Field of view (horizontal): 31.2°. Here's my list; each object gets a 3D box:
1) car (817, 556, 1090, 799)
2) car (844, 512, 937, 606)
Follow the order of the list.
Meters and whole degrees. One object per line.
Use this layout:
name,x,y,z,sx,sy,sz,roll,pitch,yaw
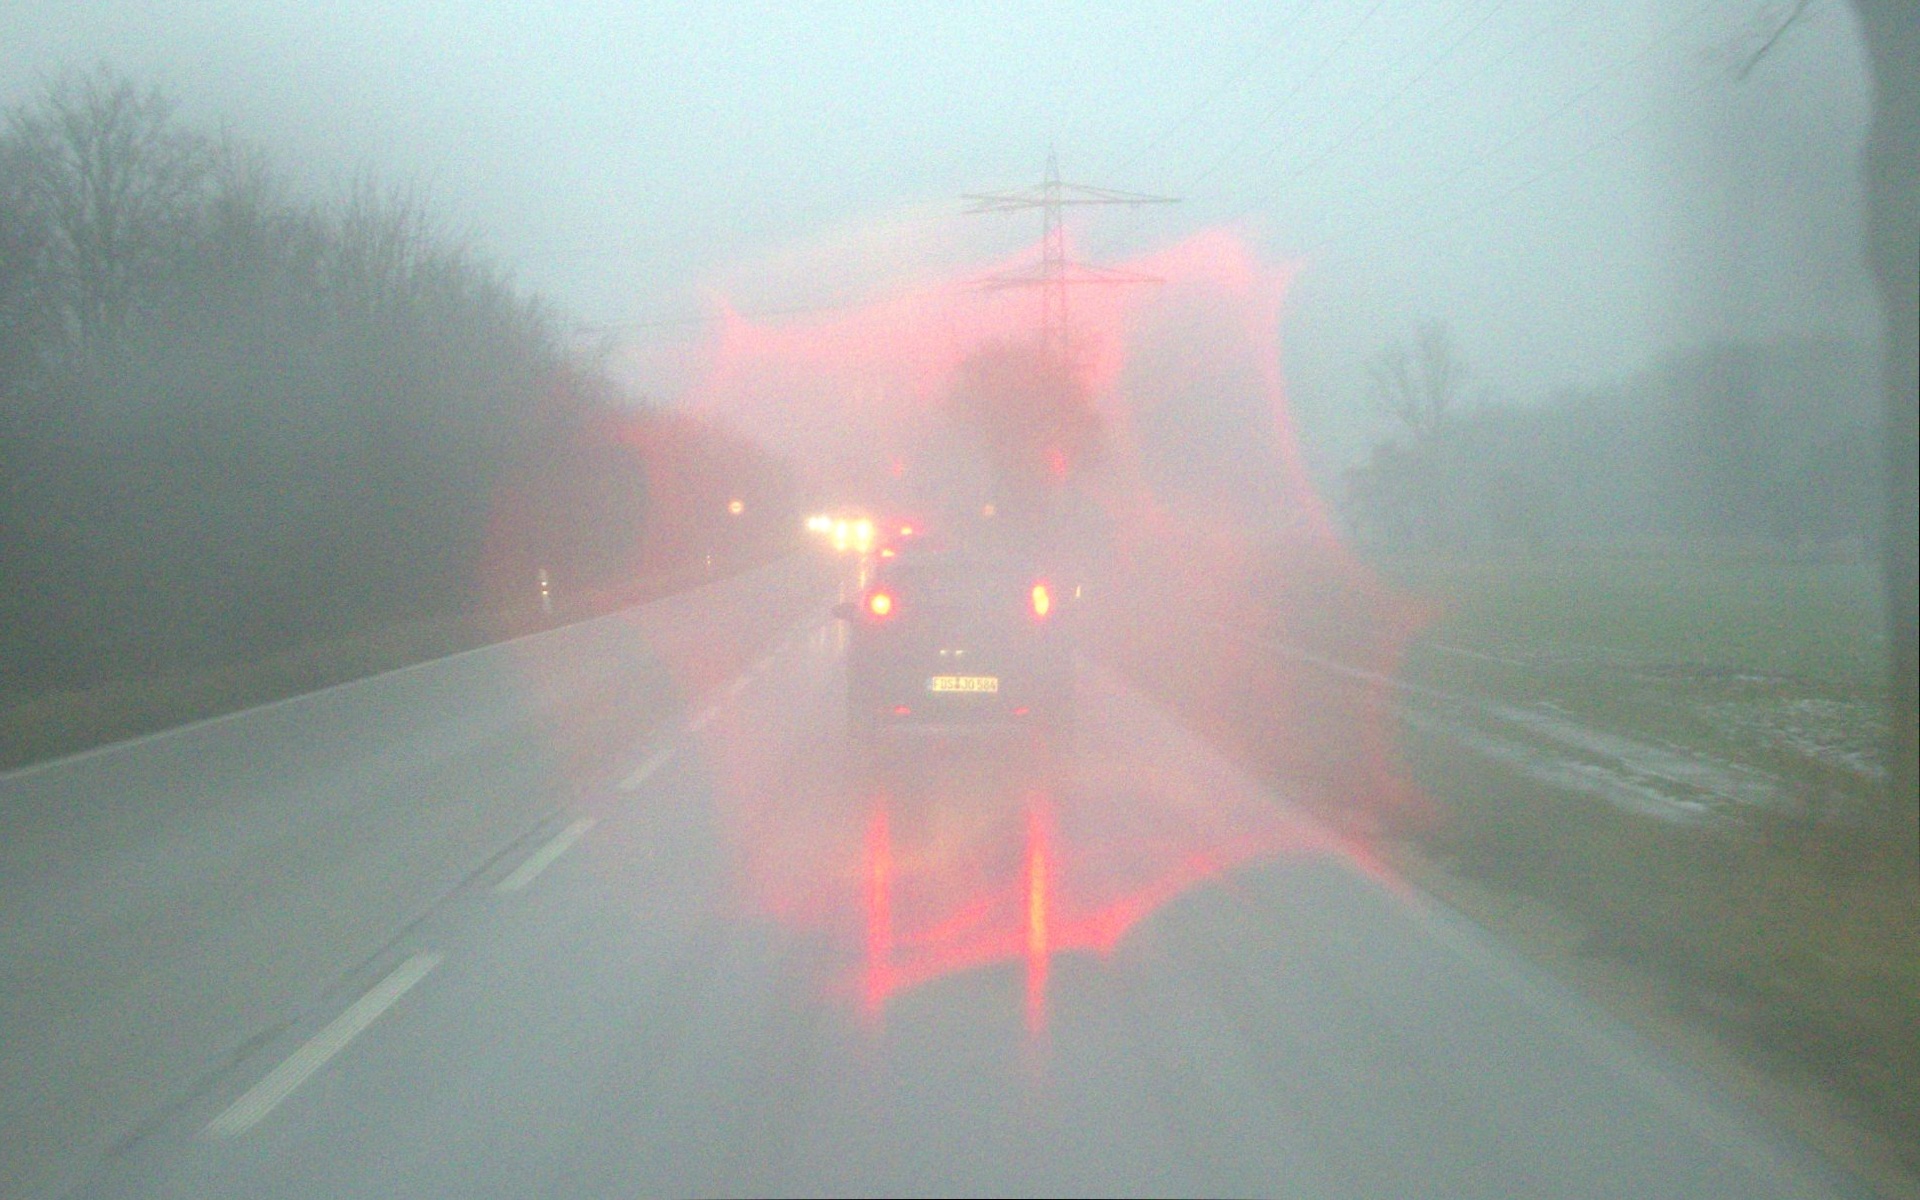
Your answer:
car,-0.074,0.540,27.071,1.993,1.746,4.000,0,1,-1
car,-1.598,-0.976,80.313,1.993,2.006,4.001,1,3,1
